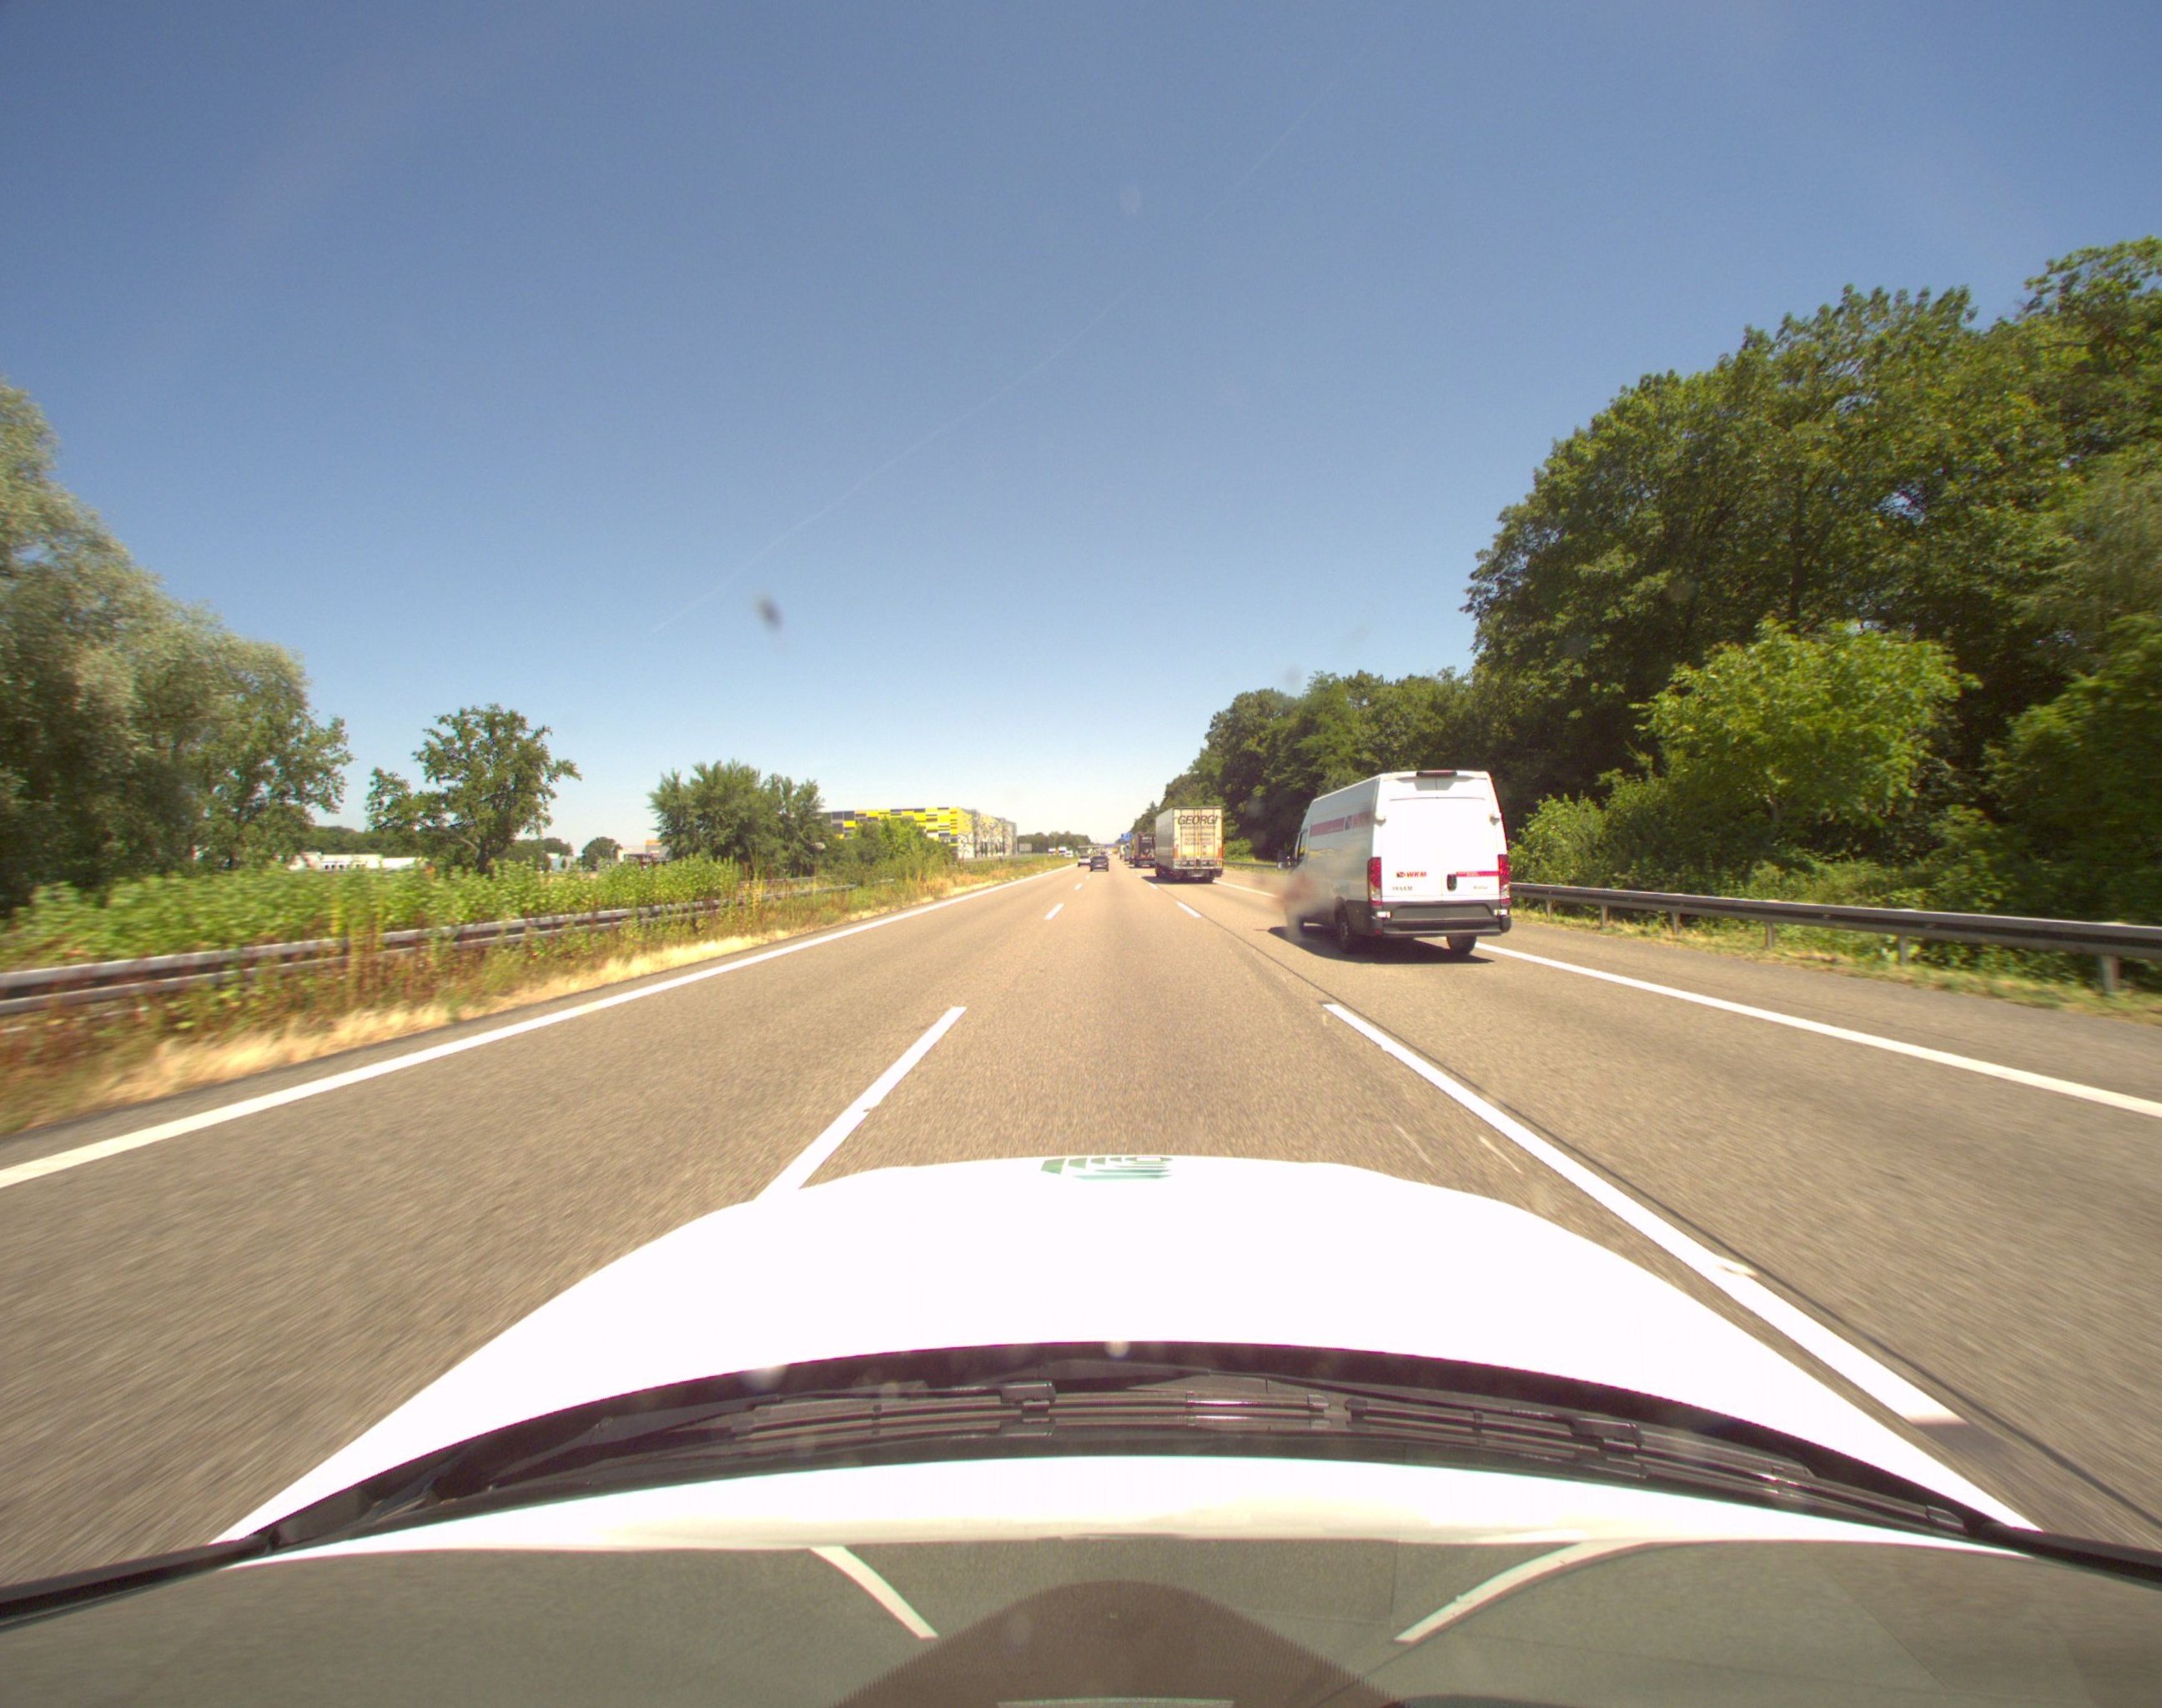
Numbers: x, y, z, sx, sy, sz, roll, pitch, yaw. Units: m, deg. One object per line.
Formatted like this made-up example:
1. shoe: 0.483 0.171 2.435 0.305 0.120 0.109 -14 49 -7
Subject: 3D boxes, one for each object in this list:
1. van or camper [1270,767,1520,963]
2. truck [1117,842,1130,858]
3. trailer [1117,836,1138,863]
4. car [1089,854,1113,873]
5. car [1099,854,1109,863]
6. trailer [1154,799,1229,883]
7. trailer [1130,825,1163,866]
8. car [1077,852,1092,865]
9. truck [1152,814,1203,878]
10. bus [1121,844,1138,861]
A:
1. van or camper: 4.989 0.148 14.228 2.015 2.637 6.489 0 0 2
2. truck: 11.636 -1.039 223.108 3.409 4.126 9.571 -2 0 3
3. trailer: 7.277 -0.685 128.296 2.824 3.953 11.688 -1 0 2
4. car: 1.976 0.899 79.307 2.208 1.790 5.395 -2 0 2
5. car: 4.564 0.855 163.292 1.934 1.706 4.001 -1 0 2
6. trailer: 6.256 -0.666 48.355 2.982 4.289 13.423 0 0 2
7. trailer: 7.672 -0.884 97.738 3.095 4.506 14.899 -1 0 1
8. car: 0.504 0.611 108.508 1.986 1.728 4.131 -1 0 1
9. truck: 6.502 -0.529 55.627 2.991 4.125 5.255 -1 0 2
10. bus: 9.977 -0.230 168.883 3.052 3.326 8.274 -2 0 1
